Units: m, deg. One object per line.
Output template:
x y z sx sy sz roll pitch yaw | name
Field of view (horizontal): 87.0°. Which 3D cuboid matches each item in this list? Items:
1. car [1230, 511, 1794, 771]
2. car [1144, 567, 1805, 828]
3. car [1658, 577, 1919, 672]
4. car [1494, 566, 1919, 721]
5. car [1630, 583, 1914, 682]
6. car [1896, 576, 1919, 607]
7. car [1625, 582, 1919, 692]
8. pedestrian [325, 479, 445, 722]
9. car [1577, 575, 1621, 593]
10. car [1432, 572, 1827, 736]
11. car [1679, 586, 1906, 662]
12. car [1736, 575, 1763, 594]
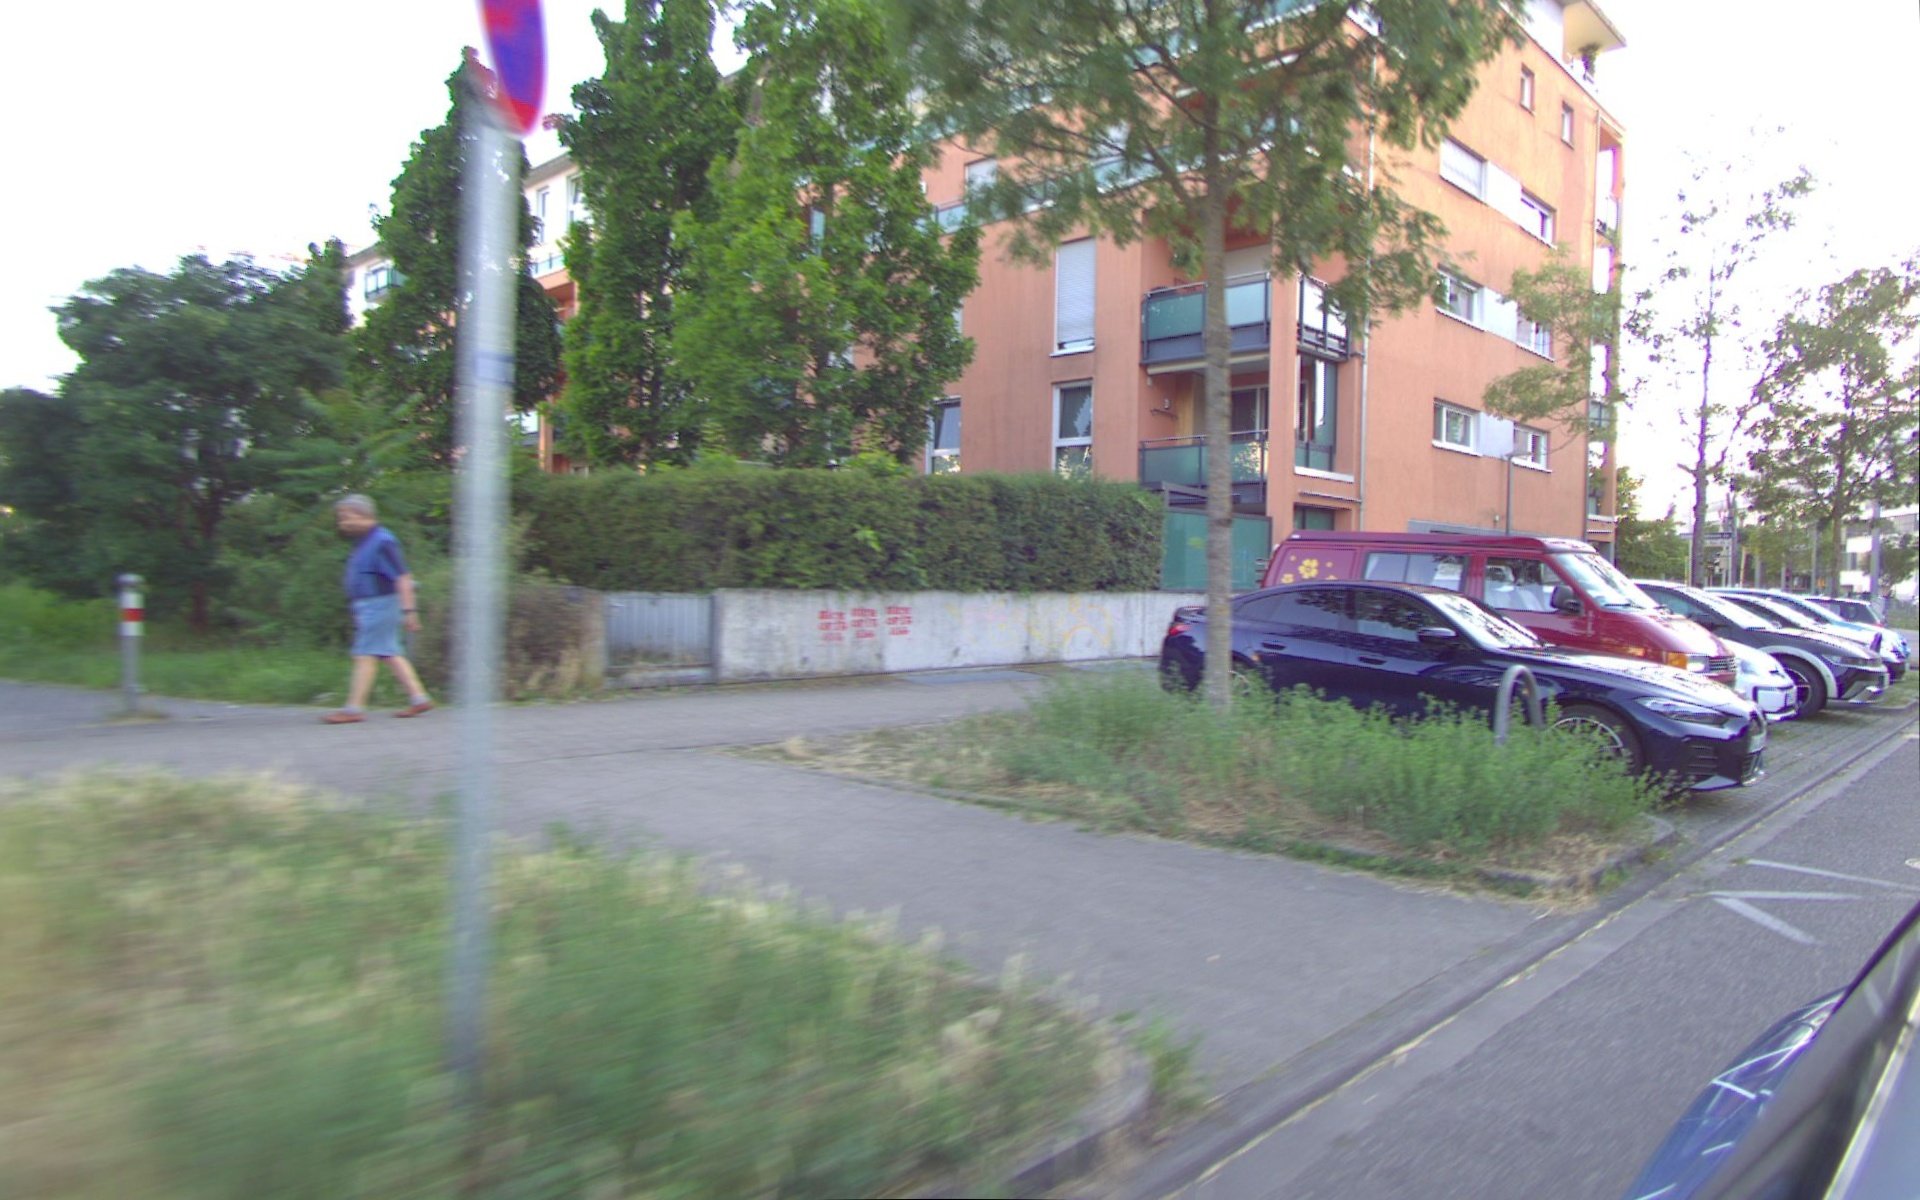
5.582 0.257 10.893 1.981 2.143 4.932 0 2 -39 | car
3.985 0.541 8.585 1.780 1.576 4.677 0 2 -42 | car
16.809 0.399 20.516 1.643 1.588 4.060 0 3 -40 | car
9.715 0.426 13.468 1.761 1.588 4.226 0 4 -40 | car
14.986 0.514 18.841 1.591 1.588 3.885 0 1 -40 | car
93.455 -0.783 98.150 1.984 2.911 6.204 3 2 24 | car
13.390 0.508 16.704 1.512 1.513 3.781 -3 3 -40 | car
-4.440 -0.007 7.811 0.687 1.765 0.670 0 1 -41 | pedestrian
73.279 -1.838 116.107 3.953 2.039 1.986 1 1 22 | car
7.710 0.499 11.916 1.587 1.482 3.534 0 4 -40 | car
18.385 0.459 22.454 1.587 1.492 3.751 0 1 -45 | car
113.510 -2.267 145.496 1.976 2.617 3.972 1 1 21 | car
